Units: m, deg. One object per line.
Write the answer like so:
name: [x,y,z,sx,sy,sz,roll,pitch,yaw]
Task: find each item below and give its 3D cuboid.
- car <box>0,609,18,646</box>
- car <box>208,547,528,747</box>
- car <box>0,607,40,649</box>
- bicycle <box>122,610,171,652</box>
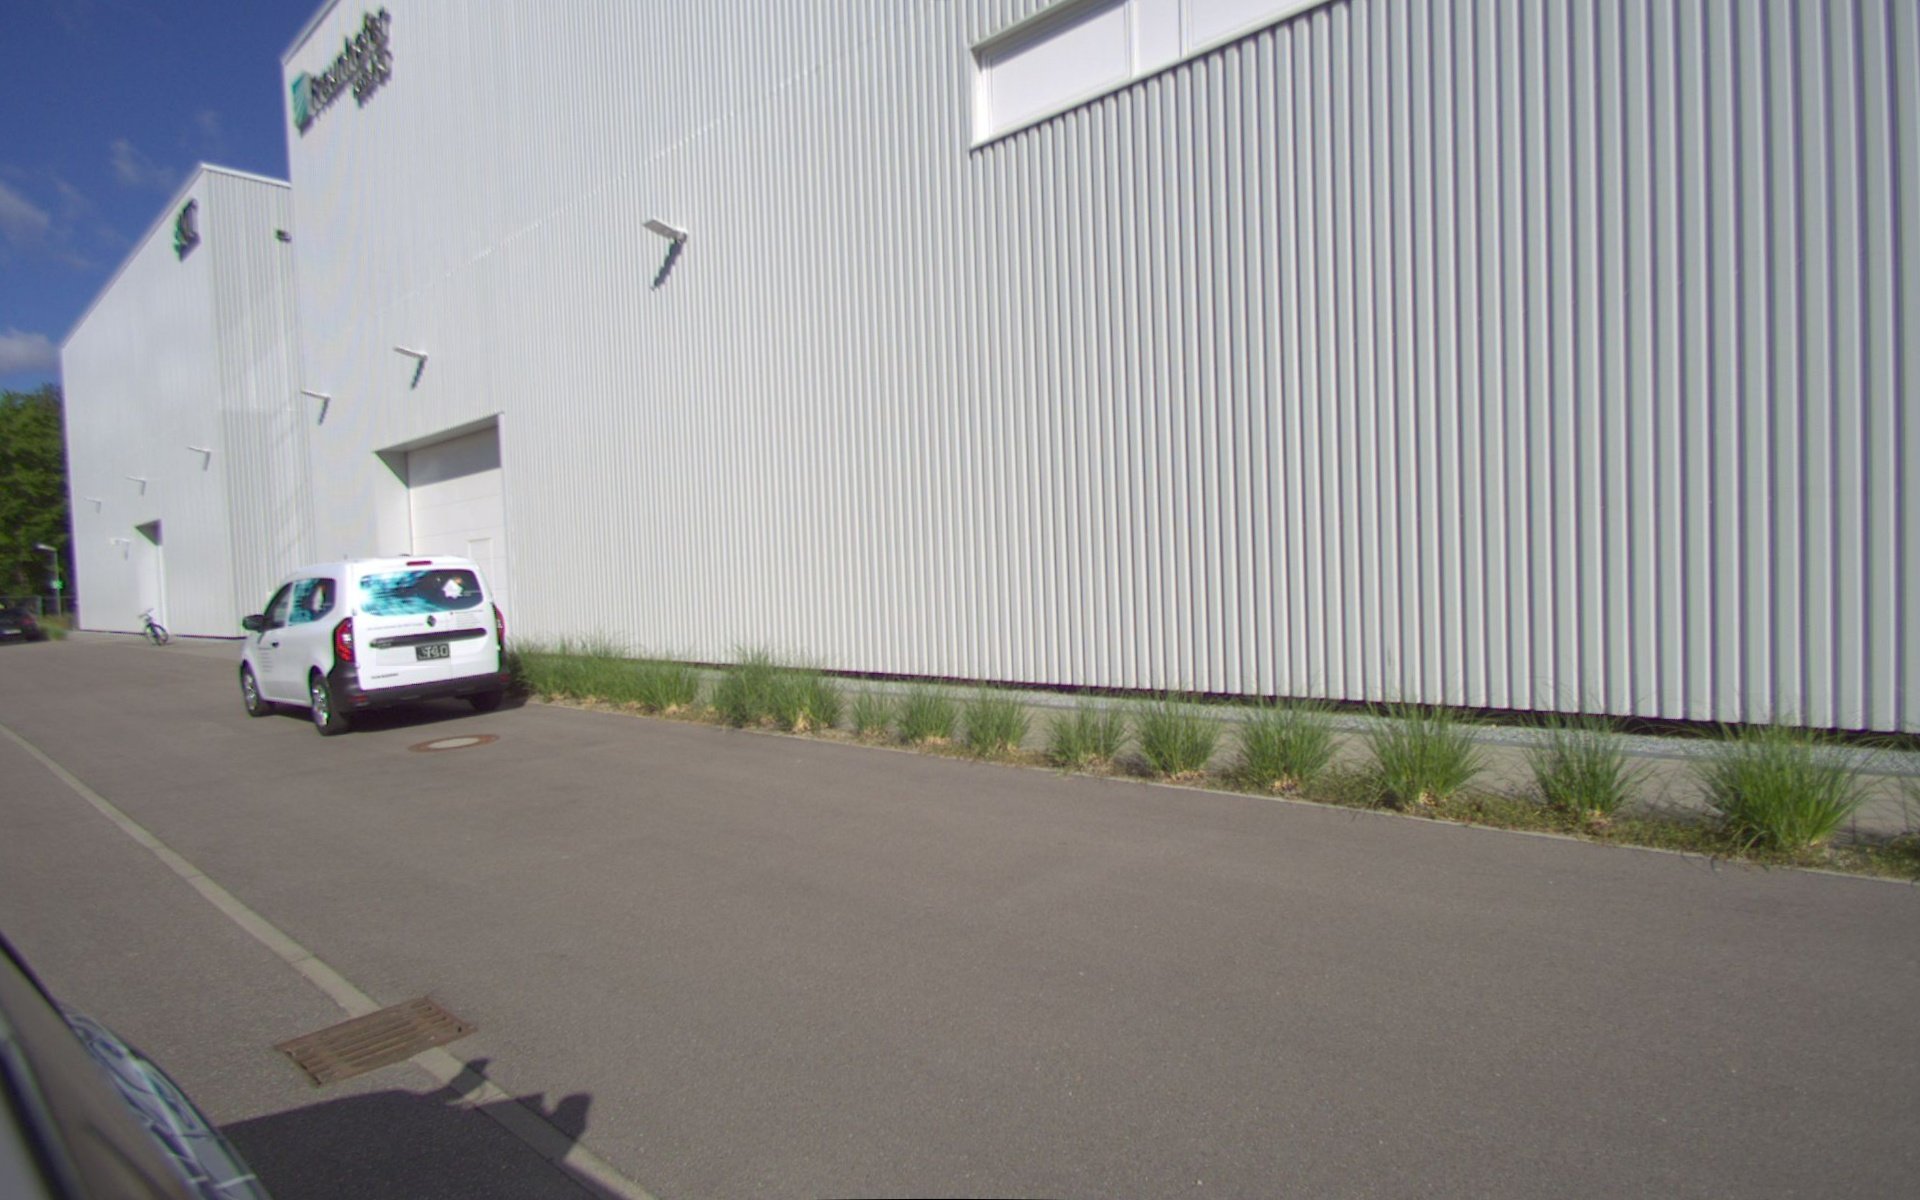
car: [-42.520,1.246,44.146,4.001,1.532,1.766,-1,4,44]
car: [-7.069,0.448,11.898,4.356,1.859,1.871,-1,4,41]
car: [-38.536,1.144,40.729,4.001,1.532,1.870,-1,4,44]
bicycle: [-25.376,0.949,31.597,0.895,1.151,1.905,-6,4,-33]
